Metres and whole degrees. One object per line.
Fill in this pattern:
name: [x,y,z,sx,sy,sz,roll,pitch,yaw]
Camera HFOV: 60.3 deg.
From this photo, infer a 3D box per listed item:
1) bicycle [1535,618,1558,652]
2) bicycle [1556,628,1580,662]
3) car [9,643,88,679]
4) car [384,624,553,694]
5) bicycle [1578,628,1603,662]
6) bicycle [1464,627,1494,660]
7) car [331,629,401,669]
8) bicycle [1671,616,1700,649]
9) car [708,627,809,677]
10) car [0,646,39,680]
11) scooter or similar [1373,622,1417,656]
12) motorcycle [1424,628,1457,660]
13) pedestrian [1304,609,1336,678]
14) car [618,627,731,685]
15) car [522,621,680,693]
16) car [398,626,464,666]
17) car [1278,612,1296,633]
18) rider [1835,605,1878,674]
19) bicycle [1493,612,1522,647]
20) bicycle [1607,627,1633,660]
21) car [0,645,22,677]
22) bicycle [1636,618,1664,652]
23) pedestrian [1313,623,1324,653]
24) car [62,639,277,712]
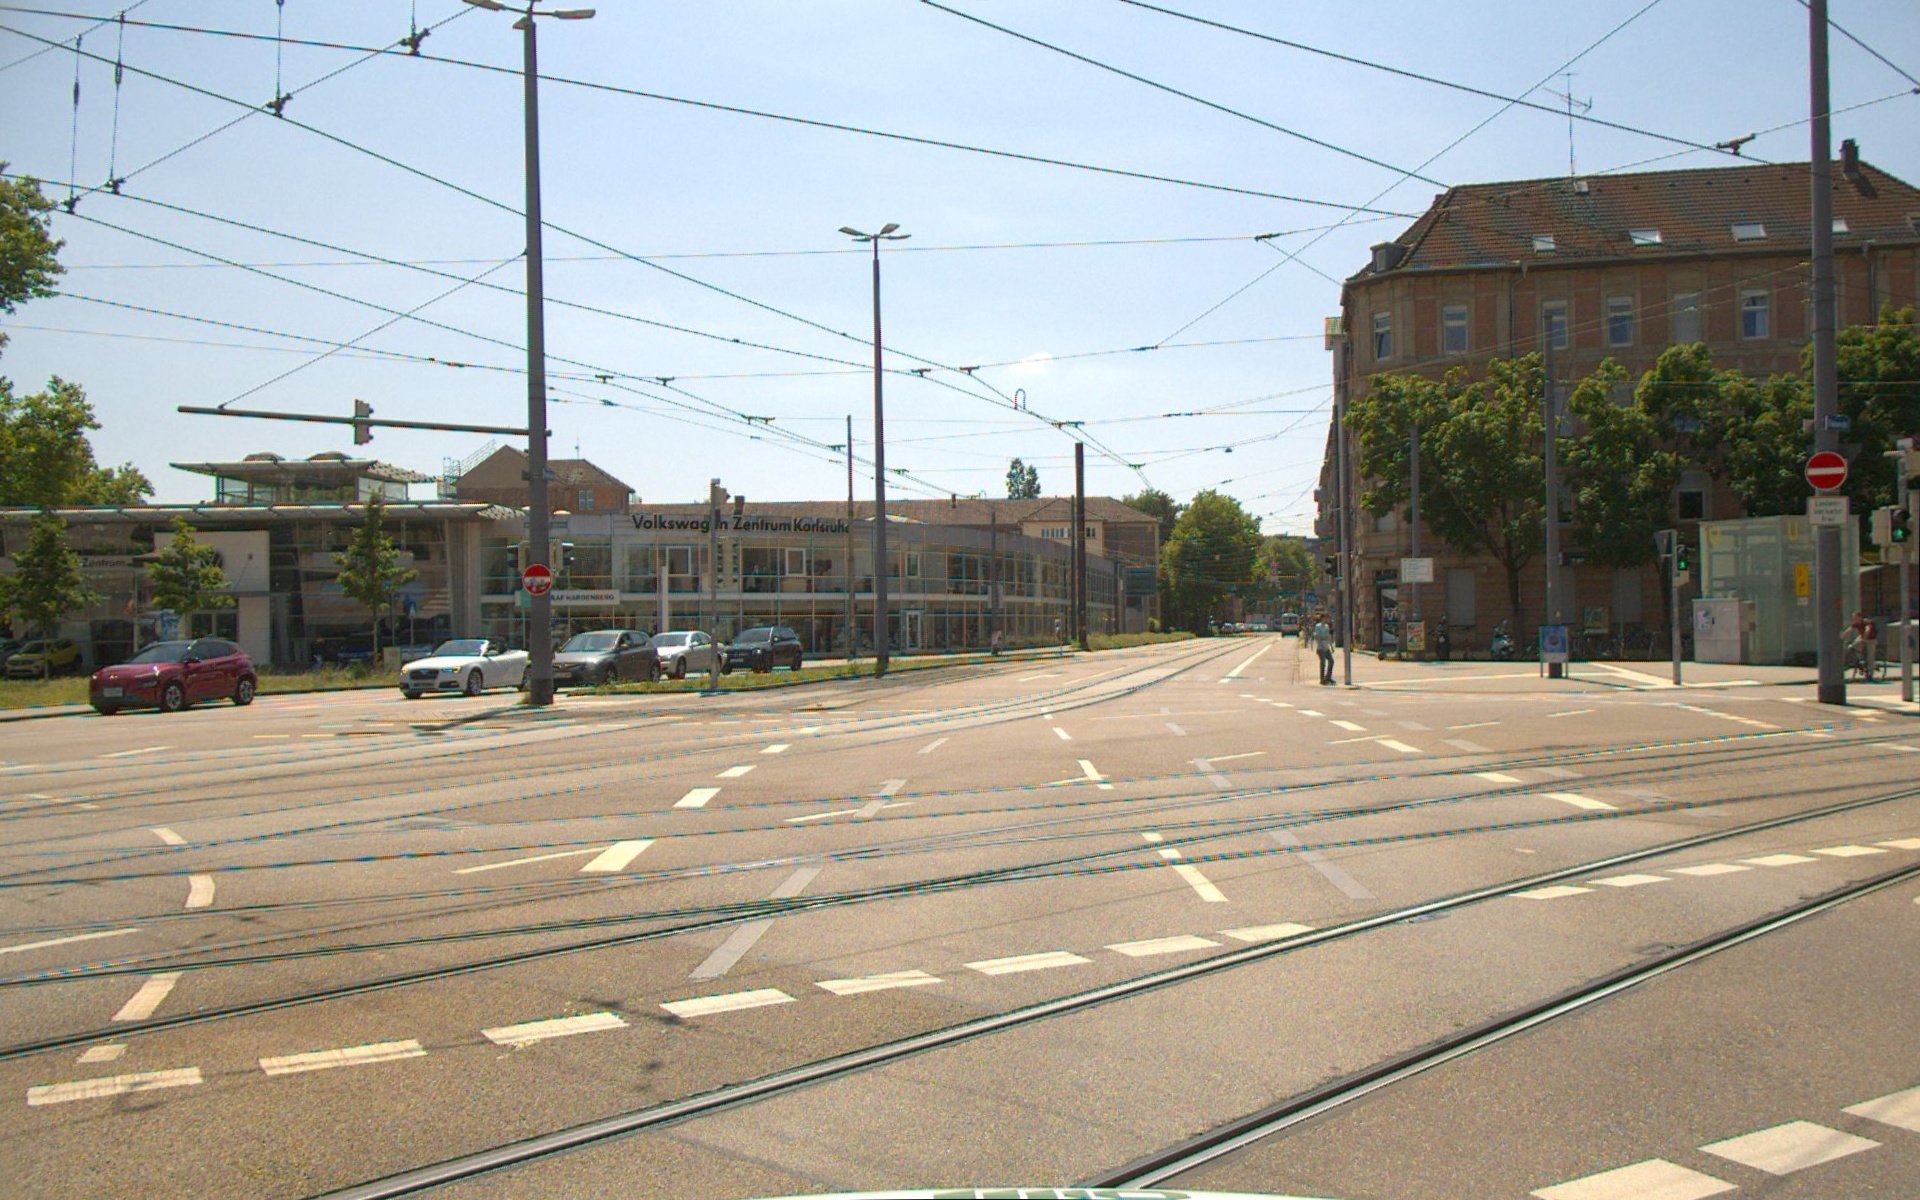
bicycle: [20.344,1.205,57.373,0.539,1.139,1.822,-1,-1,13]
bicycle: [20.987,1.536,57.094,0.539,1.139,1.821,-1,-1,13]
car: [-42.105,2.804,76.488,1.734,1.536,4.319,-1,-1,-7]
car: [-12.089,1.424,41.071,2.032,1.608,4.850,-1,-1,10]
bicycle: [21.730,1.546,57.017,0.539,1.139,1.890,-1,-1,13]
bicycle: [18.068,1.503,57.617,0.539,1.139,1.821,-1,-1,3]
car: [-27.296,2.274,76.124,1.882,1.737,3.997,1,-2,-2]
bicycle: [25.158,1.115,57.372,0.539,1.139,1.821,-1,-1,13]
car: [-7.287,1.851,60.294,2.034,1.712,4.849,-1,-1,14]
car: [-44.734,2.940,76.682,1.731,1.536,4.324,-1,-1,-2]
scooter or similar: [15.908,1.423,60.410,1.773,1.202,0.591,0,-2,-38]
motorcycle: [16.740,1.513,57.645,0.568,1.093,1.946,-1,-1,1]
pedestrian: [9.066,1.093,41.643,0.455,1.738,0.635,0,-1,-25]
car: [-9.175,1.768,53.520,1.951,1.770,4.546,-1,-1,14]
car: [-8.923,1.390,41.563,1.951,1.666,4.849,-1,-1,14]
car: [-24.357,2.131,76.299,1.882,1.737,3.997,1,-2,-2]
car: [36.864,2.565,186.159,1.951,2.219,4.372,1,-2,12]
rider: [21.669,0.949,39.966,0.865,1.629,0.557,0,-1,-35]
bicycle: [19.149,1.042,57.866,0.433,1.166,2.094,1,-2,4]
bicycle: [22.992,1.502,57.625,0.539,1.139,1.872,-1,-1,13]
car: [-48.994,3.049,81.891,4.283,1.536,1.748,0,-1,-38]
bicycle: [24.020,1.219,57.600,0.539,1.139,1.931,-1,-1,13]
pedestrian: [25.268,2.686,116.589,0.751,2.049,0.664,1,-2,9]
car: [-17.901,1.675,37.768,1.951,1.491,4.850,-1,-1,10]
